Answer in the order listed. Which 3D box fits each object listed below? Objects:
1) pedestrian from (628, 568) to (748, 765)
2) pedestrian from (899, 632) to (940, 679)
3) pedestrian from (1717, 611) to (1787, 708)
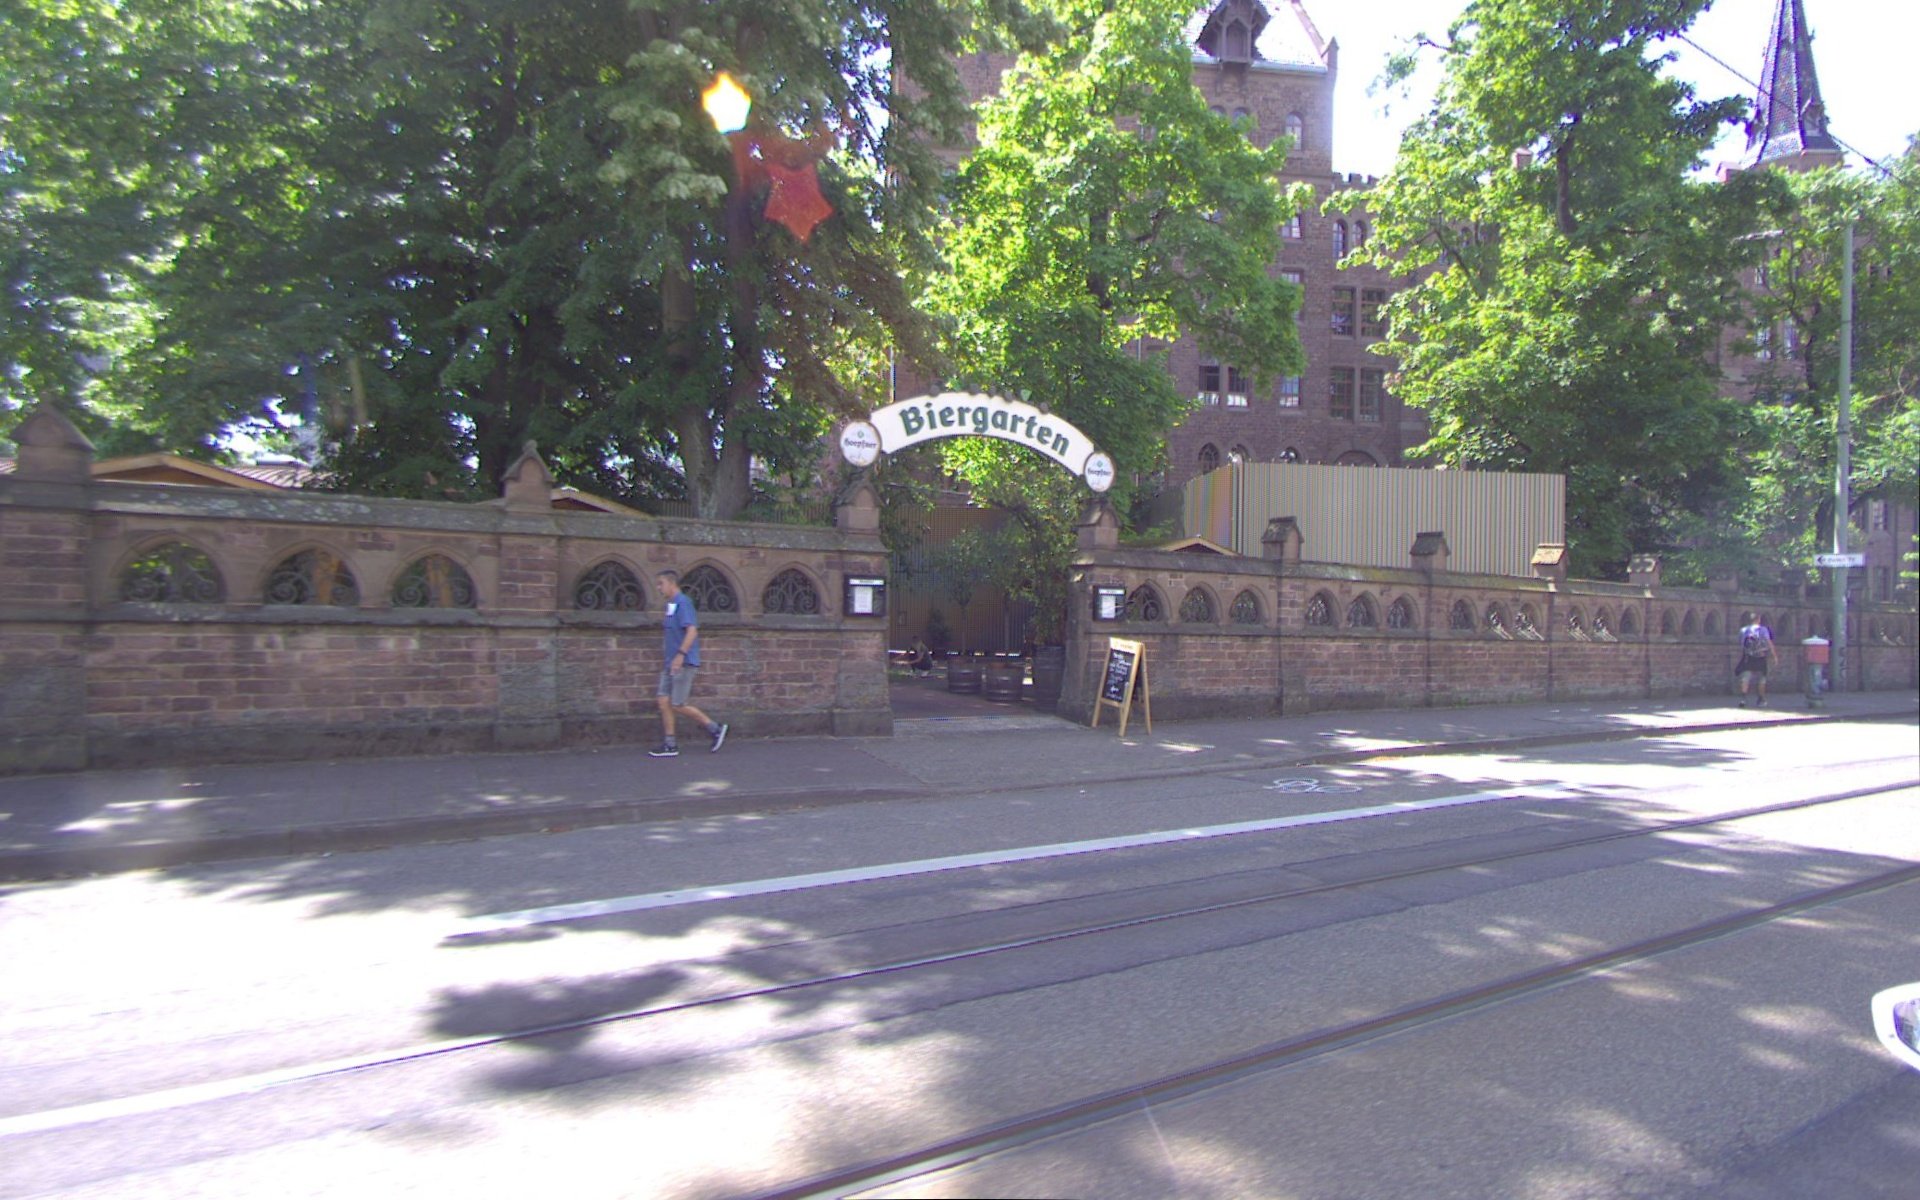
[{"bbox_3d":[-2.599,0.600,9.576,0.909,1.772,0.745,1,1,-30],"label":"pedestrian"},{"bbox_3d":[-0.842,1.159,21.151,0.709,0.911,0.575,3,1,12],"label":"pedestrian"},{"bbox_3d":[15.444,1.148,19.592,0.909,1.816,0.718,1,2,-30],"label":"pedestrian"}]
